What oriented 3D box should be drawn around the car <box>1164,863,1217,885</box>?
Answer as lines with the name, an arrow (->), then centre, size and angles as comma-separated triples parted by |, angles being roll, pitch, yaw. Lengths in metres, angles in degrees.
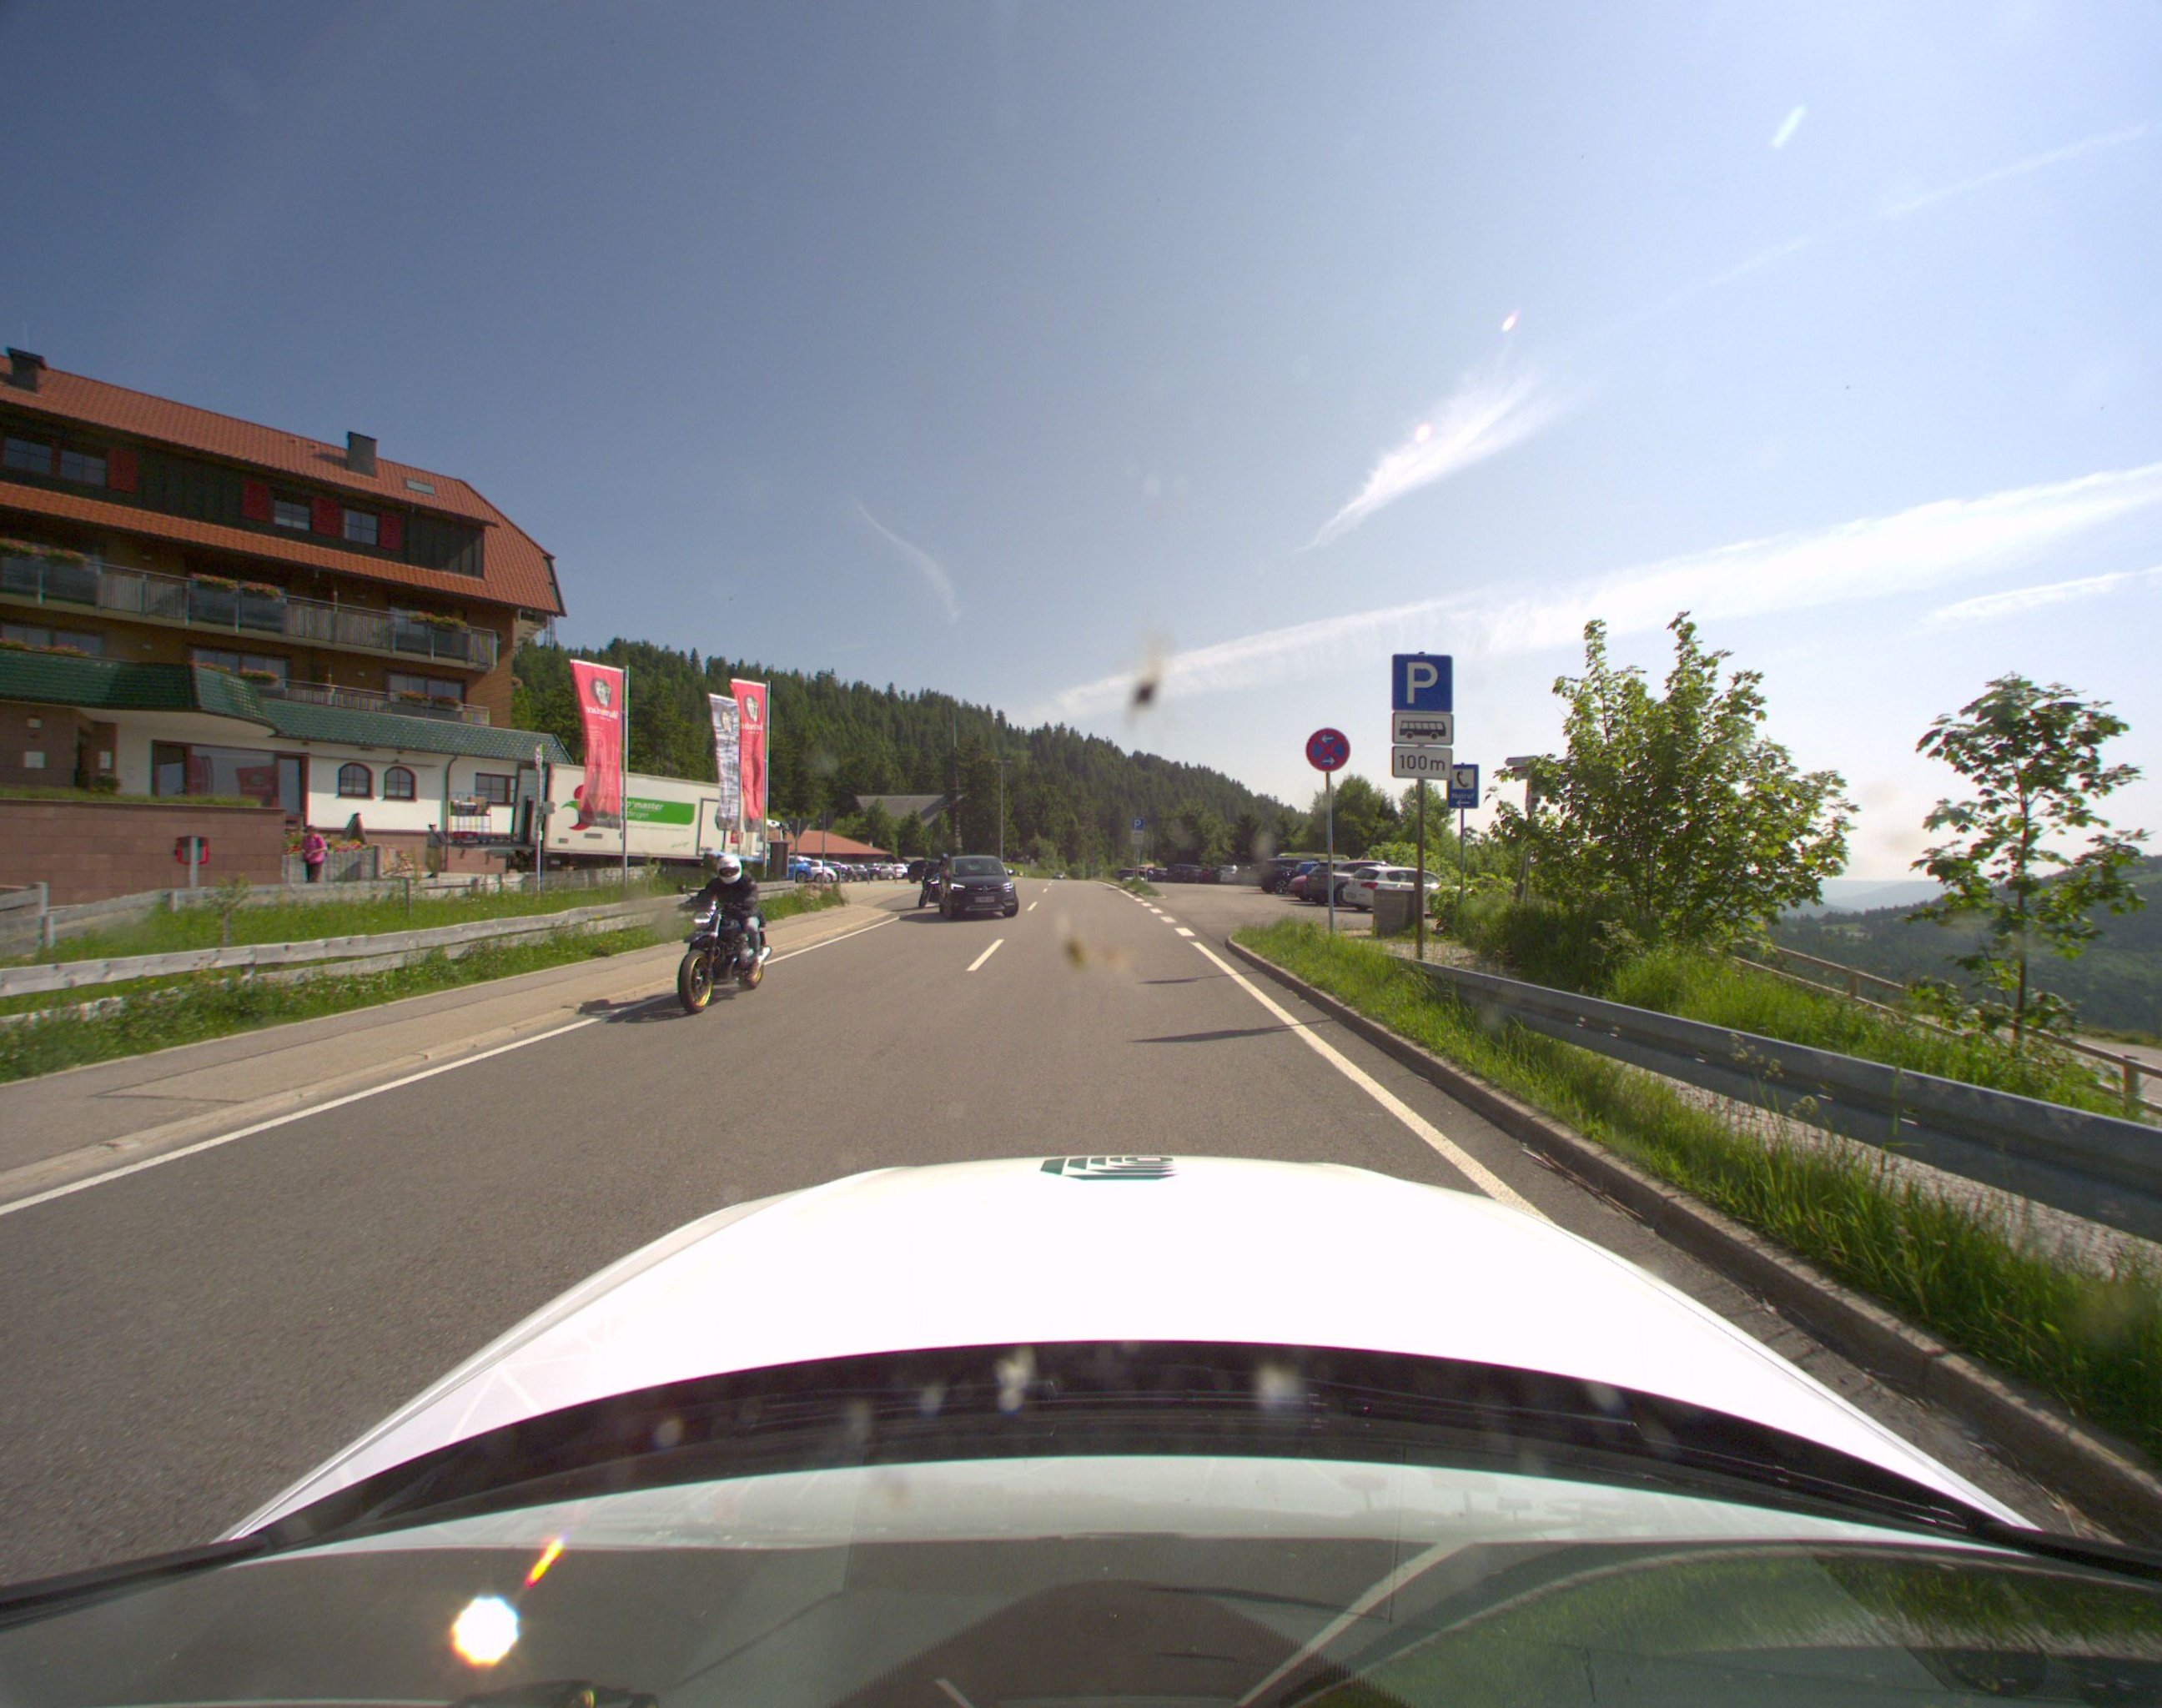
car -> 10.792, 1.977, 80.166 | 4.773, 1.880, 1.953 | 4, -2, -20

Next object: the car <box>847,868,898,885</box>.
car -> -18.350, 1.979, 71.812 | 4.020, 1.371, 1.791 | 0, -1, -40

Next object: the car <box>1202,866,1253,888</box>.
car -> 12.825, 2.033, 71.240 | 4.293, 1.695, 1.968 | 5, -2, -39

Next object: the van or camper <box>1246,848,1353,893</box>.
van or camper -> 11.413, 0.840, 42.748 | 5.069, 2.013, 1.883 | 3, 0, 2

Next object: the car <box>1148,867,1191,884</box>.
car -> 9.081, 2.216, 83.447 | 4.002, 1.443, 1.826 | 4, -2, -22

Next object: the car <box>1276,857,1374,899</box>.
car -> 10.174, 0.985, 34.115 | 3.569, 1.495, 1.648 | 3, 0, 0

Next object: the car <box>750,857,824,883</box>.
car -> -18.830, 1.007, 52.292 | 4.023, 1.546, 1.975 | 0, -1, -45

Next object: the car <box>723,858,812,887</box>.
car -> -18.840, 1.113, 49.098 | 1.915, 1.664, 4.572 | -1, -2, 43

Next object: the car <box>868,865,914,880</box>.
car -> -18.785, 1.814, 80.585 | 1.884, 1.420, 4.024 | -2, -1, 44

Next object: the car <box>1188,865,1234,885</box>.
car -> 11.986, 1.948, 74.896 | 4.018, 1.590, 1.842 | 5, -2, -39

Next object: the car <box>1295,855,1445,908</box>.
car -> 9.745, 0.930, 27.569 | 4.399, 1.568, 1.900 | 3, 0, -12

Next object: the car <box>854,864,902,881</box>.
car -> -19.209, 1.768, 77.254 | 1.876, 1.545, 4.023 | -1, -1, 45

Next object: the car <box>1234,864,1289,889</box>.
car -> 13.968, 1.755, 62.793 | 4.246, 1.695, 1.842 | 4, -2, -39

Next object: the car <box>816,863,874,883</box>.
car -> -18.793, 1.471, 64.994 | 1.694, 1.486, 4.104 | -1, -1, 44

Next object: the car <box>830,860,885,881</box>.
car -> -18.675, 1.342, 68.062 | 4.021, 1.704, 1.804 | 0, -1, -41

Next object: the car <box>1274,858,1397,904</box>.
car -> 9.450, 0.996, 30.355 | 3.988, 1.510, 1.836 | 2, 0, -11

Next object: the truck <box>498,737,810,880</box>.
truck -> -14.173, -1.260, 28.006 | 3.031, 3.972, 8.825 | 2, -1, 37

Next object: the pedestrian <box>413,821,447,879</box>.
pedestrian -> -19.496, -0.113, 24.404 | 0.568, 1.689, 0.657 | -1, -1, 35

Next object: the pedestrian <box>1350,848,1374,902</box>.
pedestrian -> 10.084, 0.753, 29.222 | 0.605, 1.900, 0.680 | 3, -1, 5

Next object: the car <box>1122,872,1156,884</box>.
car -> 8.238, 3.441, 115.475 | 4.464, 1.299, 1.573 | 6, -2, -17

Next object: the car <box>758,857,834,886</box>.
car -> -19.151, 1.130, 54.838 | 4.556, 1.863, 1.813 | 0, -1, -44

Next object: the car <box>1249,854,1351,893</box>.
car -> 9.817, 0.875, 36.704 | 3.982, 1.613, 1.912 | 2, -1, -6

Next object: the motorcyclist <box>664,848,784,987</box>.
motorcyclist -> -3.962, 0.682, 9.116 | 0.836, 1.441, 1.005 | -2, -1, 1

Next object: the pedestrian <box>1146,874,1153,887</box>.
pedestrian -> 7.144, 2.748, 84.881 | 0.770, 1.403, 0.670 | 0, -1, 5

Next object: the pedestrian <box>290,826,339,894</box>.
pedestrian -> -19.941, 0.156, 21.191 | 0.690, 1.716, 0.803 | -1, -1, 35

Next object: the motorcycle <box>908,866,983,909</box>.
motorcycle -> -4.263, 1.019, 25.793 | 0.803, 1.265, 2.341 | -1, -1, 42

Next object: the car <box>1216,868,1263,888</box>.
car -> 13.460, 2.026, 69.034 | 4.018, 1.476, 1.748 | 5, -2, -39

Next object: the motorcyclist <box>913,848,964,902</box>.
motorcyclist -> -4.468, 0.654, 25.514 | 0.870, 1.641, 1.307 | -1, -1, 42

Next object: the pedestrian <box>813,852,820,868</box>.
pedestrian -> -31.694, 0.738, 97.607 | 0.540, 1.874, 0.531 | -1, -3, 42

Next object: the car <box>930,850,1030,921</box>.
car -> -2.803, 0.778, 21.759 | 1.984, 1.616, 4.127 | -3, 0, -16

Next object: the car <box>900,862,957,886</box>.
car -> -10.251, 1.324, 54.429 | 1.818, 1.540, 4.141 | 0, -1, -43

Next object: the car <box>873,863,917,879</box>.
car -> -19.088, 1.748, 83.728 | 1.975, 1.574, 4.024 | -2, -1, 44

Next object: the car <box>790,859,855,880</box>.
car -> -18.497, 1.115, 58.434 | 1.890, 1.430, 4.024 | -1, -1, 43

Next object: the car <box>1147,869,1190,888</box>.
car -> 9.322, 2.593, 86.486 | 4.008, 1.662, 1.982 | 7, -4, -28

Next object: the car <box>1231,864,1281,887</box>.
car -> 14.176, 1.753, 65.908 | 4.018, 1.549, 1.800 | 5, -2, -39

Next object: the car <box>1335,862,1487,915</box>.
car -> 9.937, 1.030, 24.601 | 3.988, 1.386, 1.651 | 3, -1, -11

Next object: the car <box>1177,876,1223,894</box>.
car -> 11.302, 2.923, 77.199 | 4.009, 1.415, 1.729 | 4, -2, -28

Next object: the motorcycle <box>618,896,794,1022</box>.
motorcycle -> -3.981, 1.065, 8.898 | 0.836, 1.096, 2.183 | -2, -1, 2

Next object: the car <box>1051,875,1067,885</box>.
car -> -3.448, 4.160, 130.438 | 1.568, 1.429, 3.386 | -1, 0, 17
